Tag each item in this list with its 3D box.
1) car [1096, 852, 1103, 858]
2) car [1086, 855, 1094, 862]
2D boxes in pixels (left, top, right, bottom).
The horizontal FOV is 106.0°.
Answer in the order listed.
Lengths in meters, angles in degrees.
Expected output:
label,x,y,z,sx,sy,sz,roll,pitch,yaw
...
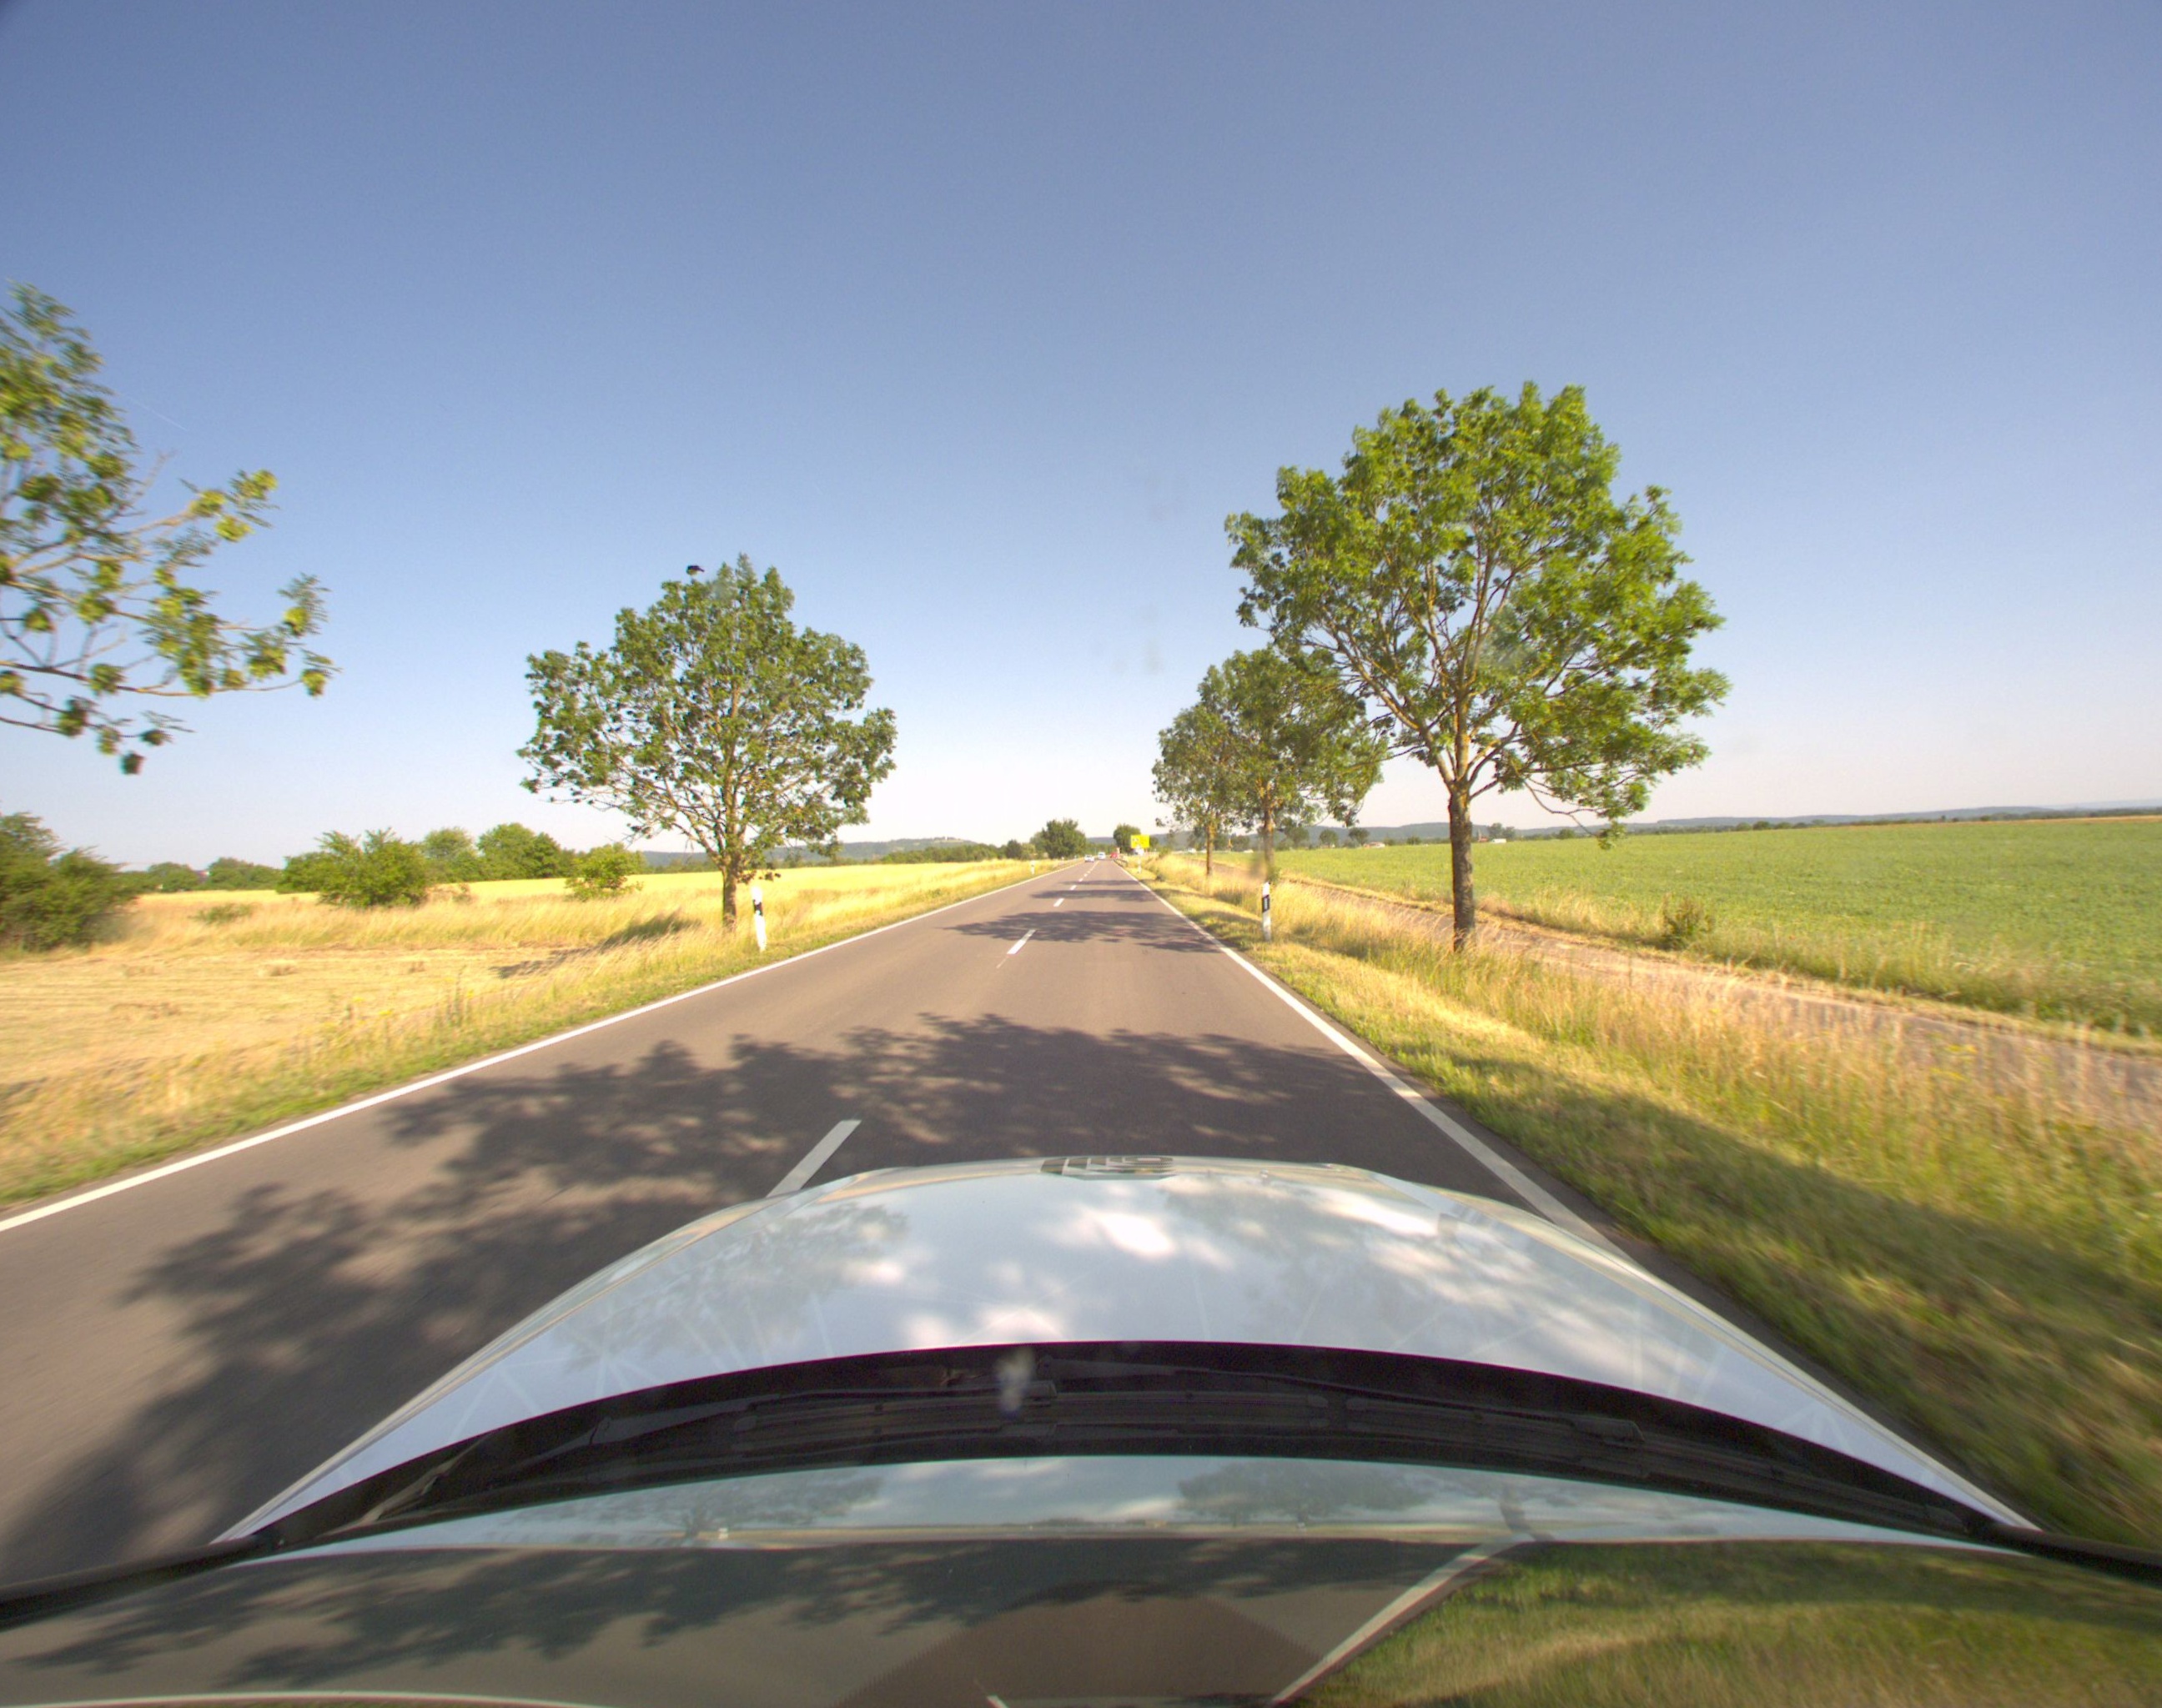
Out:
label,x,y,z,sx,sy,sz,roll,pitch,yaw
car,4.992,0.276,219.961,1.829,1.787,4.437,-2,0,2
car,1.851,0.934,167.969,1.720,1.437,4.517,-1,0,1
